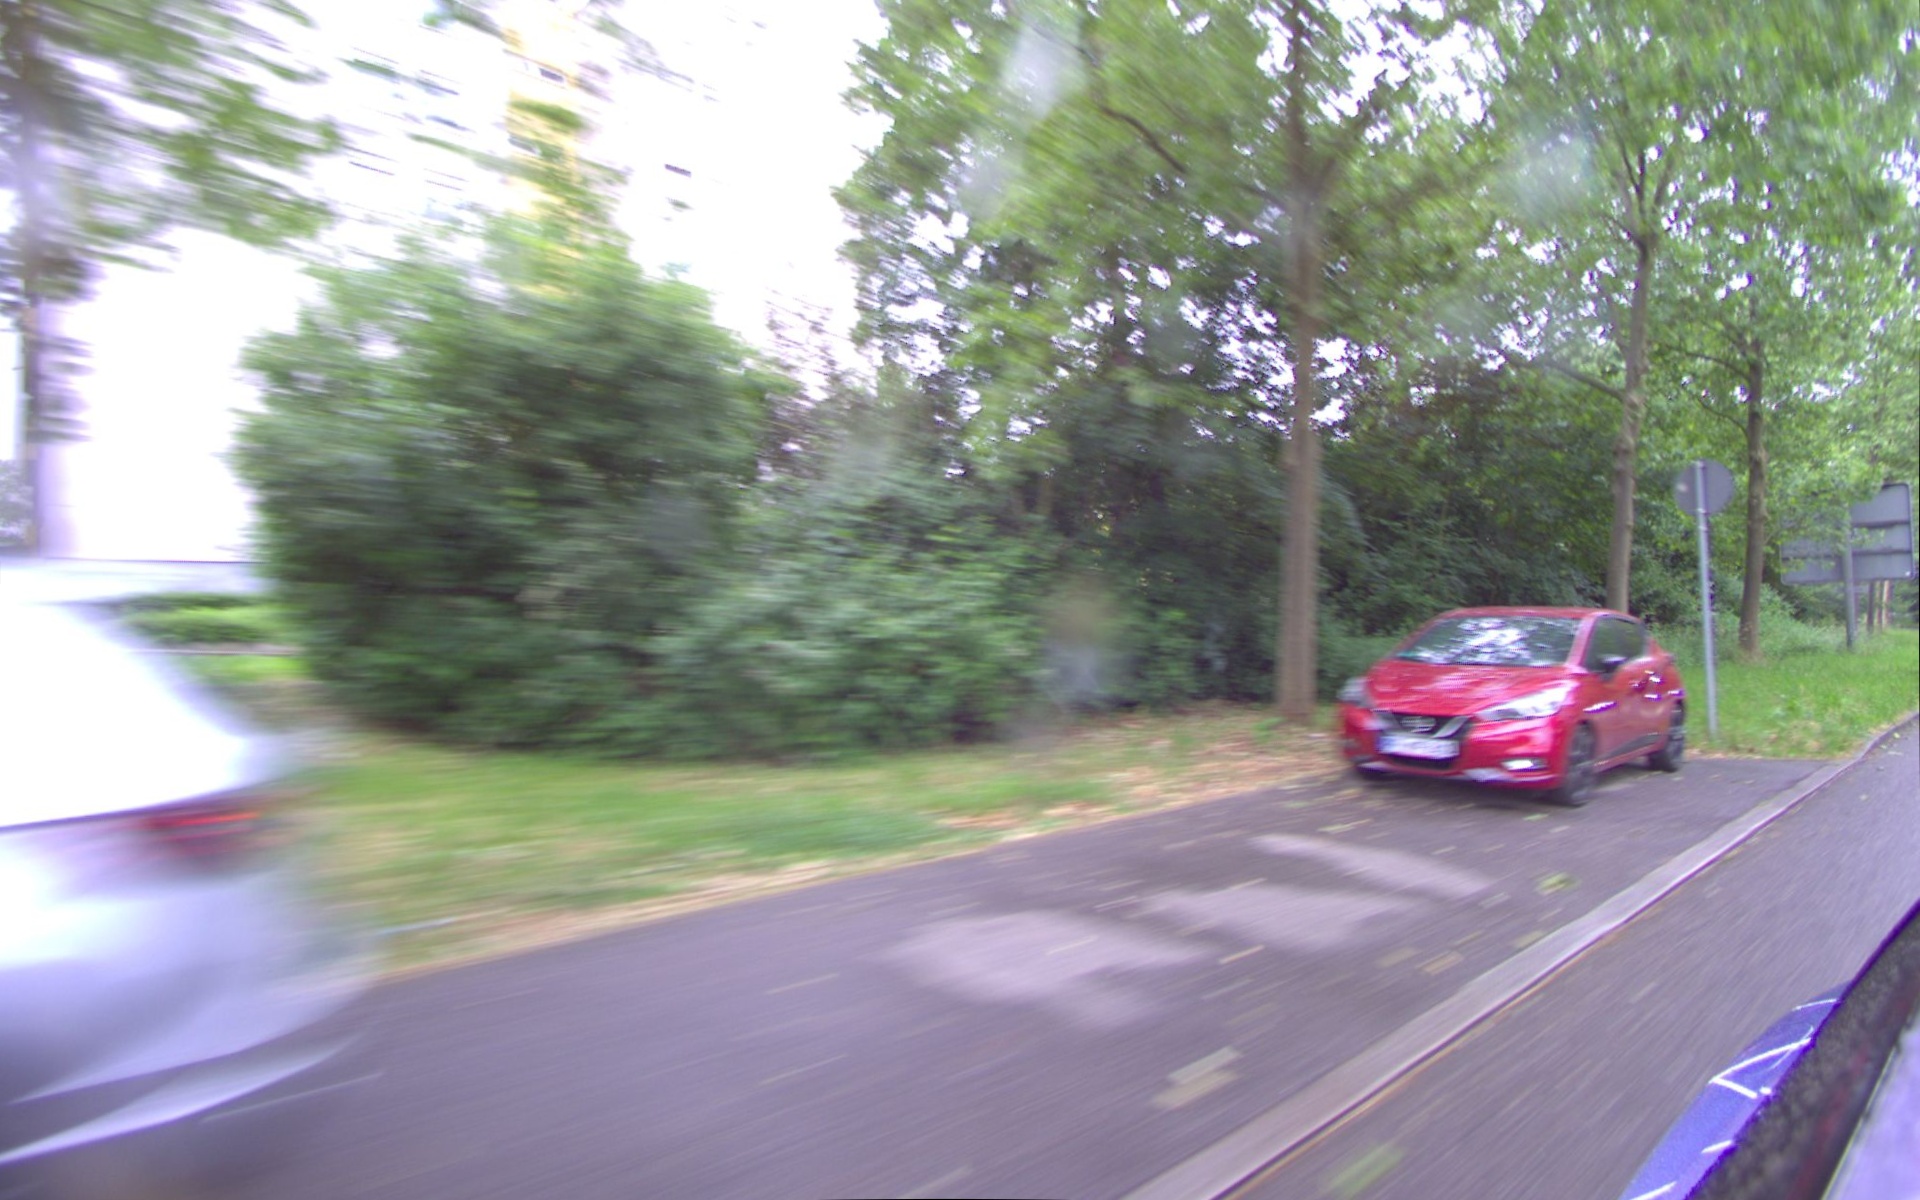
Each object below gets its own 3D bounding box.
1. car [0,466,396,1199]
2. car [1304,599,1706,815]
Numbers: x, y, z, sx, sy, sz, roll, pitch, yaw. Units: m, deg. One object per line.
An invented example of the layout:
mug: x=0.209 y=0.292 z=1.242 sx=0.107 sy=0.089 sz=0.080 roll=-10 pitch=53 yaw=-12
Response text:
car: x=-3.244 y=0.596 z=1.283 sx=4.178 sy=1.611 sz=1.731 roll=-1 pitch=1 yaw=-41
car: x=4.703 y=0.701 z=8.546 sx=3.678 sy=1.389 sz=1.800 roll=0 pitch=0 yaw=-41
